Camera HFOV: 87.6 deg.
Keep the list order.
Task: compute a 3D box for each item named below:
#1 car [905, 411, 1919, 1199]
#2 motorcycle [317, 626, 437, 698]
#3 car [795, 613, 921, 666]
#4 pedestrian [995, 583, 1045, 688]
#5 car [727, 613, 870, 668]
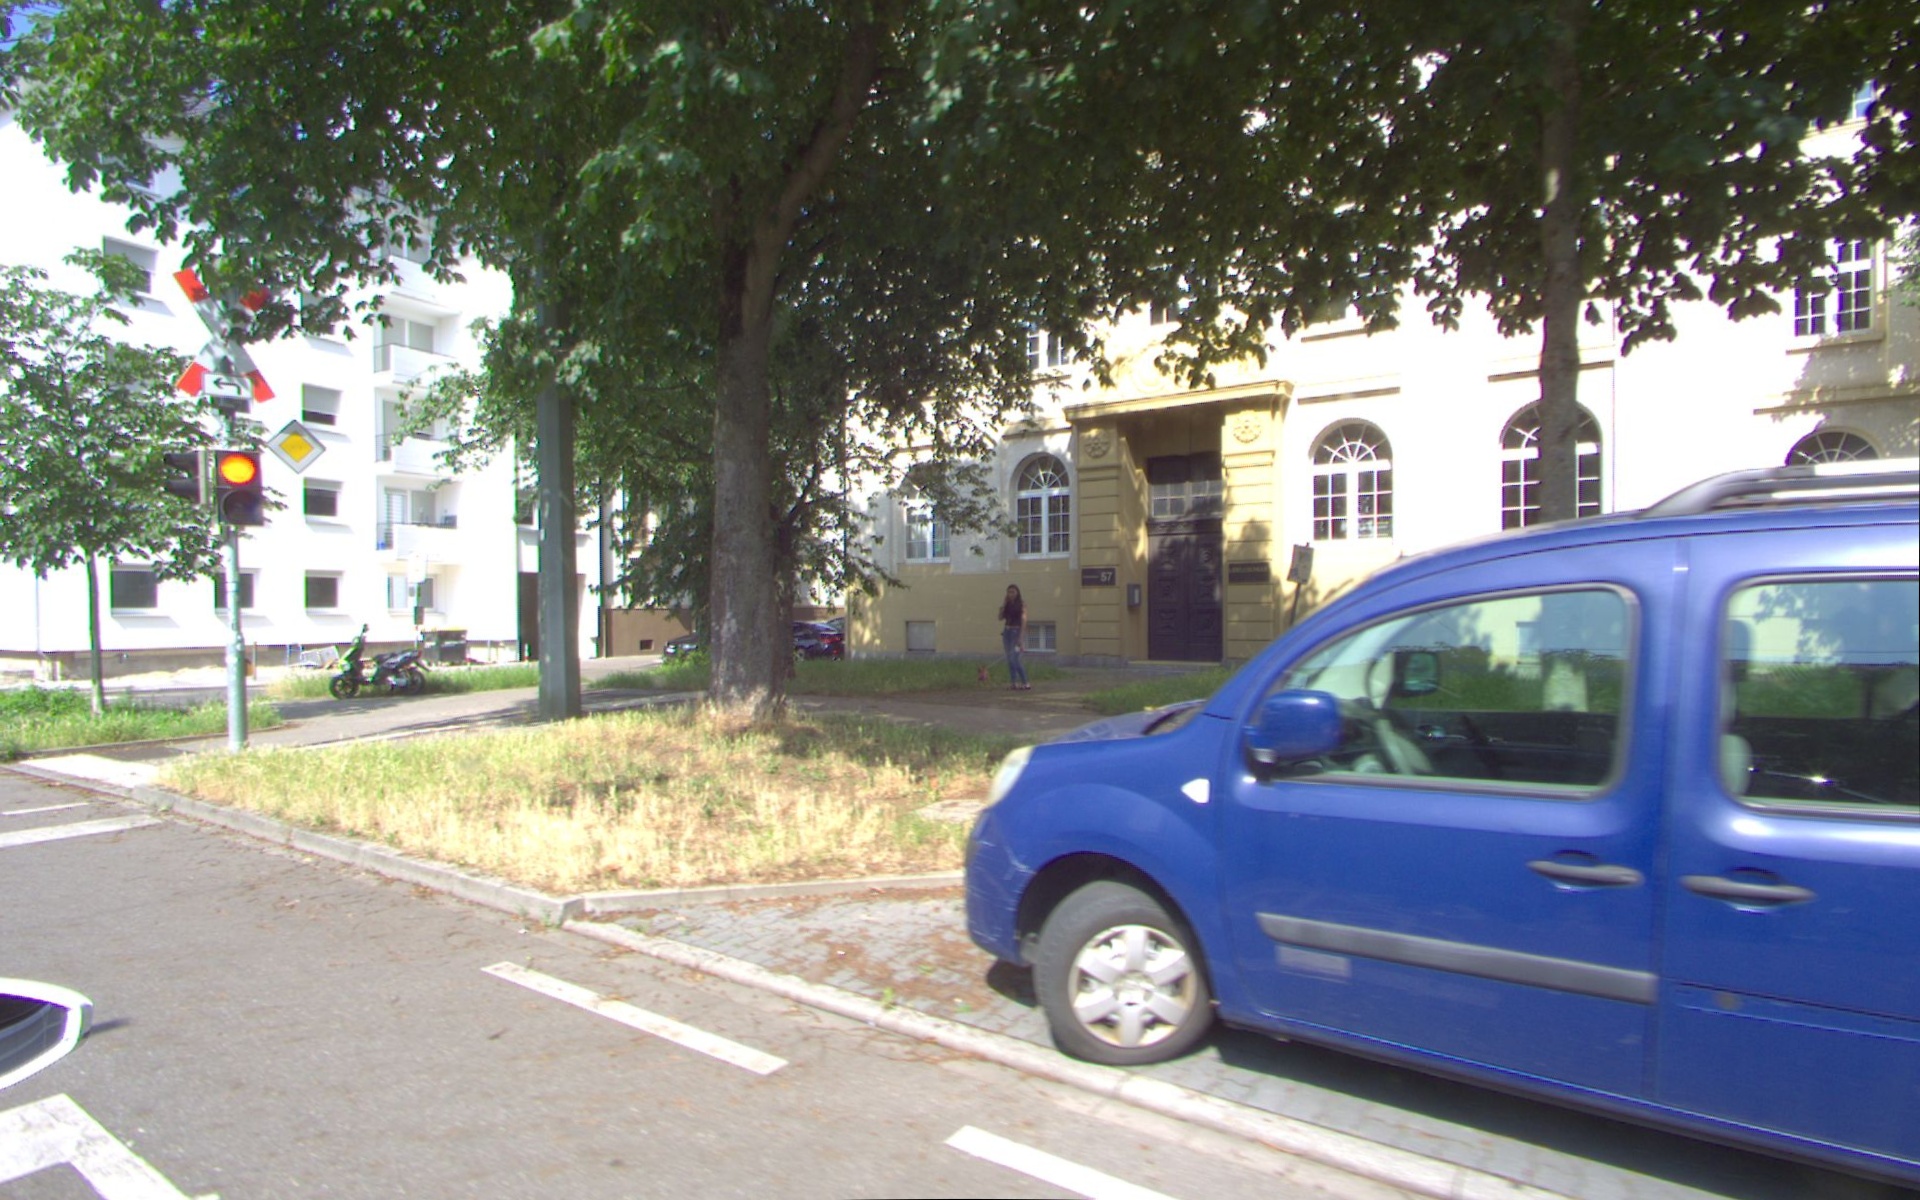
[{"bbox_3d":[2.001,0.567,3.106,4.128,1.922,1.816,0,1,36],"label":"car"},{"bbox_3d":[-10.818,1.140,18.616,1.811,1.233,0.571,-1,4,0],"label":"motorcycle"},{"bbox_3d":[-3.257,1.204,31.598,3.955,1.560,1.797,-1,0,42],"label":"car"},{"bbox_3d":[0.952,0.557,15.830,0.532,1.617,0.630,-1,0,31],"label":"pedestrian"},{"bbox_3d":[-4.730,1.140,29.203,3.942,1.478,1.736,-1,0,32],"label":"car"}]
